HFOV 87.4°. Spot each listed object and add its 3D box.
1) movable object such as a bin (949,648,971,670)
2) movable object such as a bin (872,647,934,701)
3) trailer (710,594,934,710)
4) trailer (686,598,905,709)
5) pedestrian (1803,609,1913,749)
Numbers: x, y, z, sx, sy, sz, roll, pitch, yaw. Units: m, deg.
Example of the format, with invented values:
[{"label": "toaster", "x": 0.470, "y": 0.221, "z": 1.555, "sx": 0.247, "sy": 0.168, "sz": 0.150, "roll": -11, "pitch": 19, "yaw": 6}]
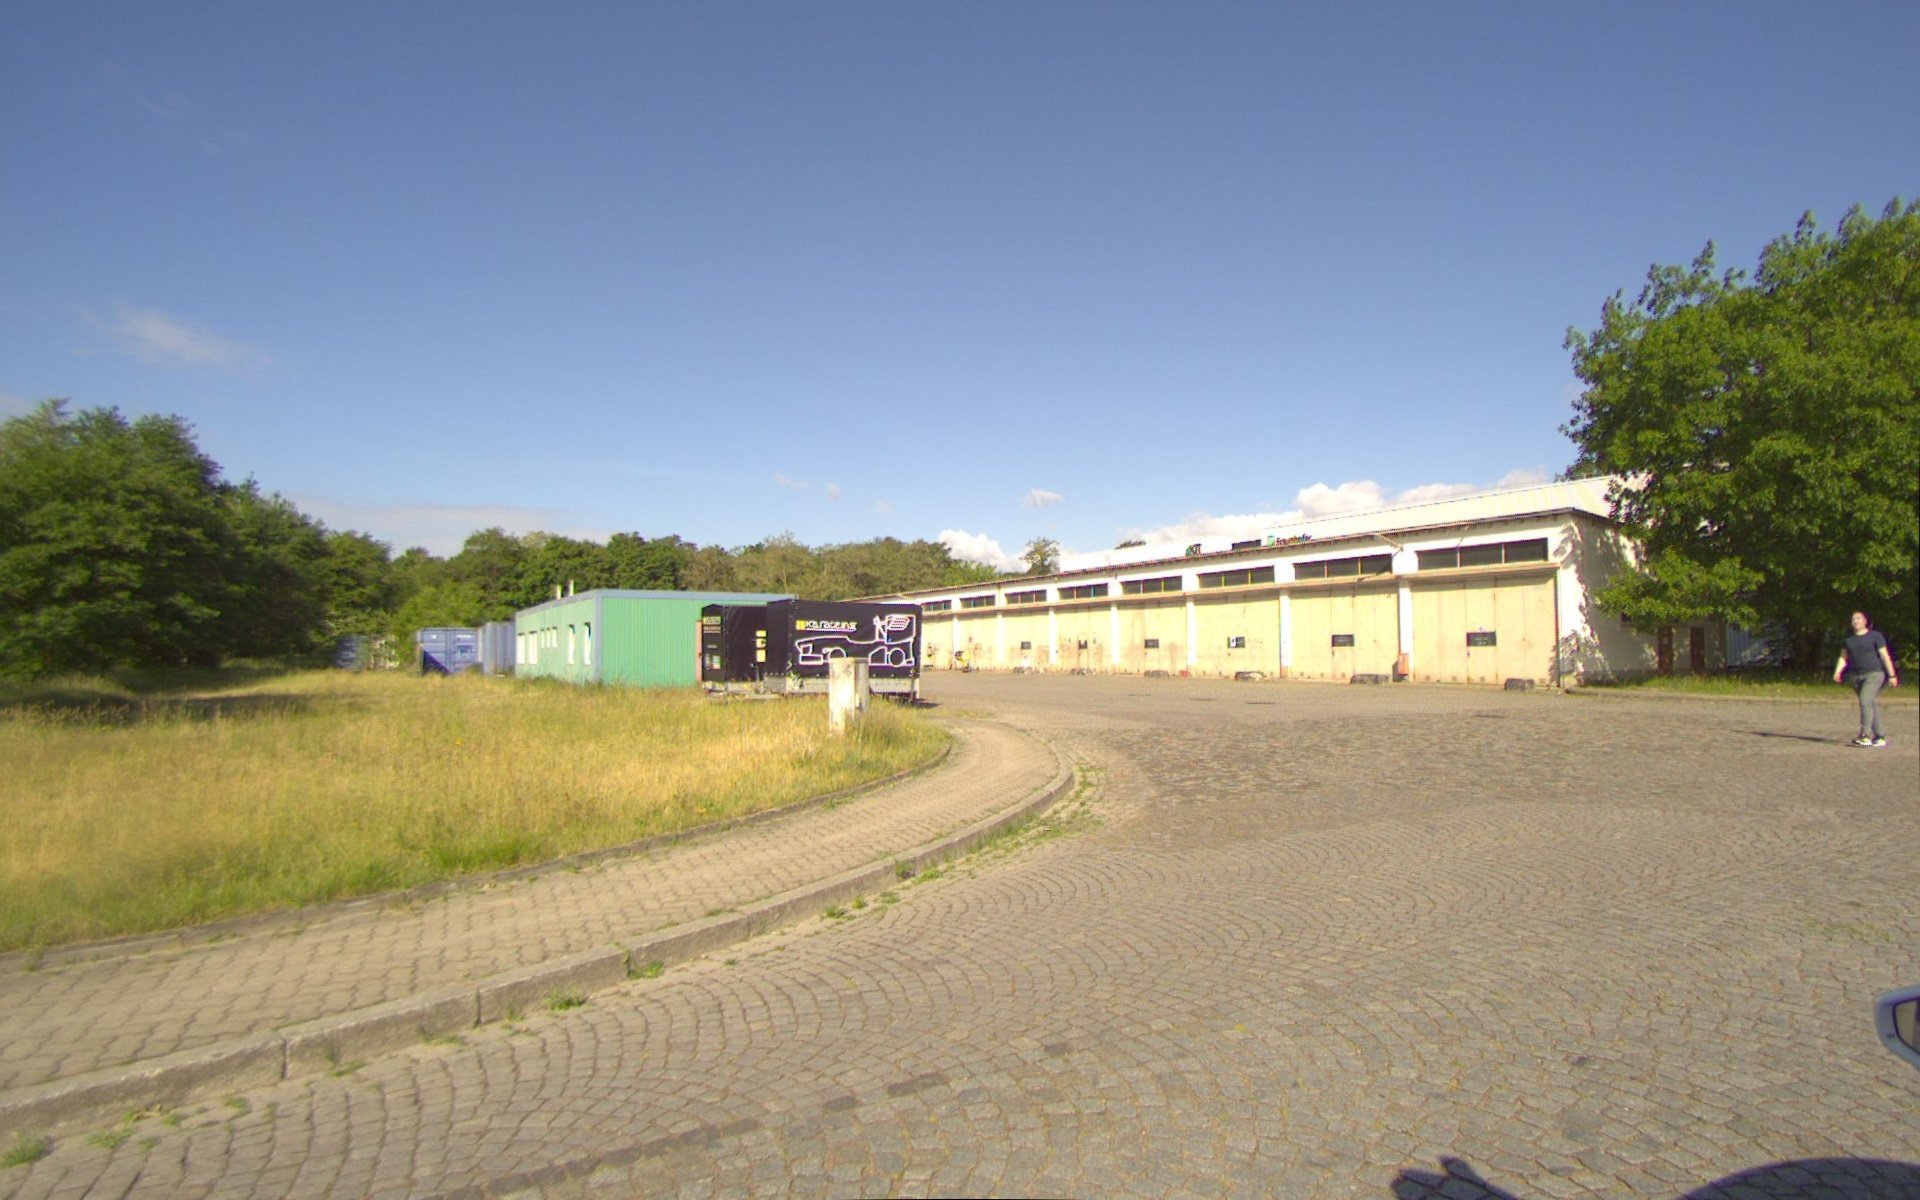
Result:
[{"label": "movable object such as a bin", "x": -0.021, "y": 3.683, "z": 62.401, "sx": 0.817, "sy": 1.349, "sz": 1.269, "roll": 1, "pitch": -3, "yaw": -33}, {"label": "movable object such as a bin", "x": -1.501, "y": 1.936, "z": 26.468, "sx": 1.337, "sy": 1.404, "sz": 1.048, "roll": -1, "pitch": -3, "yaw": 18}, {"label": "trailer", "x": -2.974, "y": 1.172, "z": 21.868, "sx": 4.415, "sy": 2.302, "sz": 1.999, "roll": 3, "pitch": -4, "yaw": -29}, {"label": "trailer", "x": -3.878, "y": 1.315, "z": 24.097, "sx": 4.807, "sy": 2.422, "sz": 1.924, "roll": 3, "pitch": -4, "yaw": -35}, {"label": "pedestrian", "x": 13.022, "y": 1.123, "z": 14.575, "sx": 1.128, "sy": 1.939, "sz": 0.794, "roll": 1, "pitch": -3, "yaw": -28}]
